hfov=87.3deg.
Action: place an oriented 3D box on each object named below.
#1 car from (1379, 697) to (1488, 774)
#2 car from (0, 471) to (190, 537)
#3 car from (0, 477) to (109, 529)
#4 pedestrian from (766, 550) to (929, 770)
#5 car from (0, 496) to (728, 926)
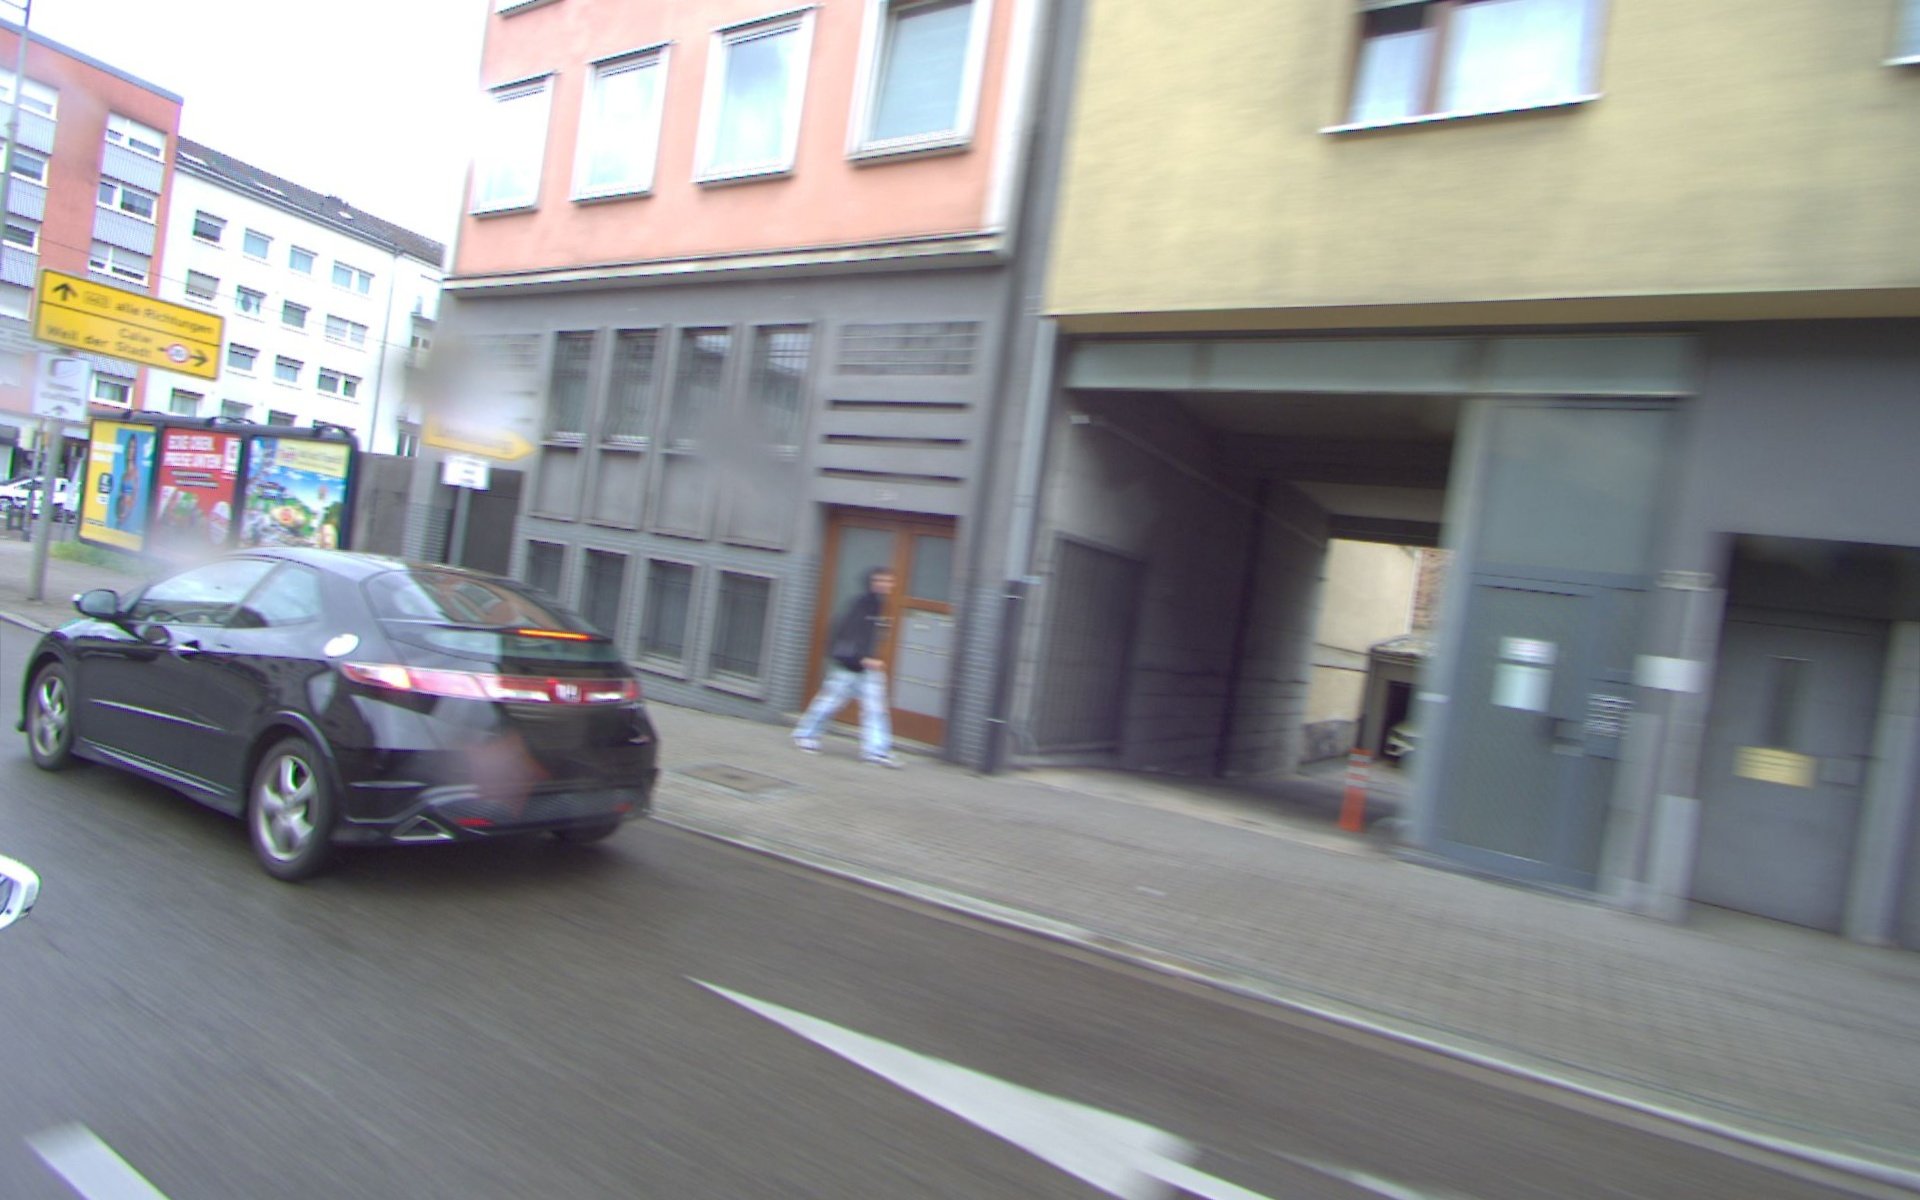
[{"bbox_3d":[12.303,3.434,26.027,1.967,1.420,3.991,9,1,32],"label":"car"},{"bbox_3d":[-30.391,-3.338,35.506,1.886,1.504,4.660,8,0,27],"label":"car"},{"bbox_3d":[-36.034,-3.859,39.216,1.673,1.504,3.953,8,0,29],"label":"car"},{"bbox_3d":[-1.034,0.532,9.225,1.077,1.809,0.673,8,1,34],"label":"pedestrian"},{"bbox_3d":[-3.508,0.422,5.725,3.988,1.514,1.788,7,-2,30],"label":"car"}]
